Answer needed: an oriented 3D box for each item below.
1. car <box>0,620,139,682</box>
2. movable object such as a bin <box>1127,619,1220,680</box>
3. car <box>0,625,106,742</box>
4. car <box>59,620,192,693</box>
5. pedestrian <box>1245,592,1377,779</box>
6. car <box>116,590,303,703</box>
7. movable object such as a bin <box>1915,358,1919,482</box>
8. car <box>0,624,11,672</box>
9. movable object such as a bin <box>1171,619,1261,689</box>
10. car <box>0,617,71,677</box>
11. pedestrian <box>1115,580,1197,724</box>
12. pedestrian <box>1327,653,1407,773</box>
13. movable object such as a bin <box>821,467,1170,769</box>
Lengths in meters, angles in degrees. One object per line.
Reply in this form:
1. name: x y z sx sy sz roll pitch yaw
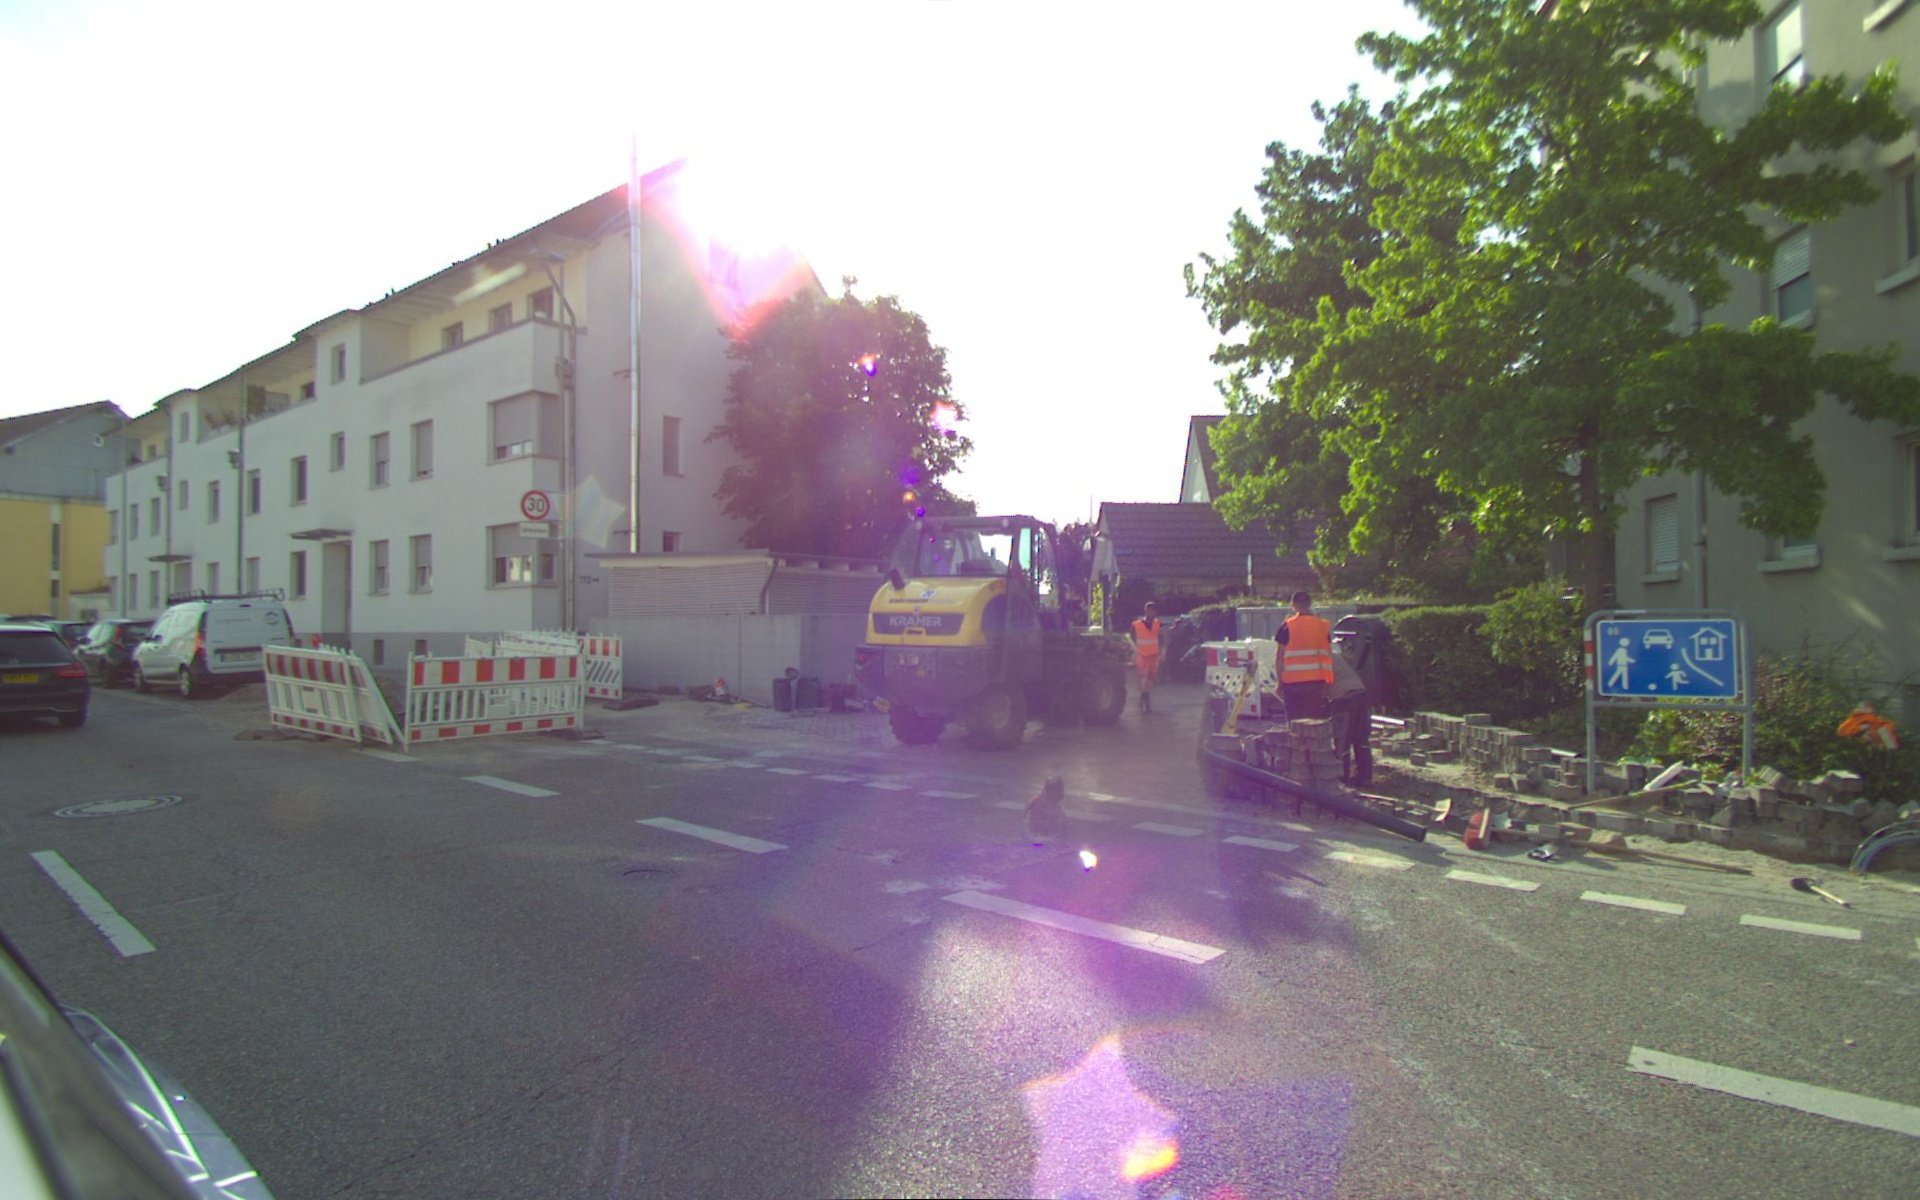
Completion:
1. car: -23.217 1.285 26.284 4.250 1.489 1.714 -2 -2 33
2. movable object such as a bin: 5.287 1.215 25.229 1.971 1.430 1.416 0 0 -2
3. car: -13.369 1.060 13.751 4.202 1.431 1.813 -1 -2 37
4. car: -18.457 1.203 22.343 3.507 1.476 1.479 -2 -1 37
5. pedestrian: 3.348 0.774 9.663 0.993 1.677 0.661 -1 -1 42
6. car: -14.687 0.875 19.719 4.430 1.975 1.712 -2 -1 36
7. movable object such as a bin: 7.325 -0.032 4.768 3.896 3.162 1.631 -2 -3 40
8. car: -32.333 1.556 32.479 4.488 1.489 1.714 -1 0 33
9. movable object such as a bin: 5.651 1.181 22.455 1.602 1.458 1.322 0 0 -2
10. car: -27.960 1.353 29.753 4.251 1.634 1.713 -1 -1 34
11. pedestrian: 2.873 0.745 14.886 0.755 2.034 0.895 0 -2 -37
12. pedestrian: 4.038 1.100 10.049 0.597 1.108 0.494 -1 -1 41
13. movable object such as a bin: 0.762 0.214 12.717 2.103 2.922 5.461 -2 -1 29
